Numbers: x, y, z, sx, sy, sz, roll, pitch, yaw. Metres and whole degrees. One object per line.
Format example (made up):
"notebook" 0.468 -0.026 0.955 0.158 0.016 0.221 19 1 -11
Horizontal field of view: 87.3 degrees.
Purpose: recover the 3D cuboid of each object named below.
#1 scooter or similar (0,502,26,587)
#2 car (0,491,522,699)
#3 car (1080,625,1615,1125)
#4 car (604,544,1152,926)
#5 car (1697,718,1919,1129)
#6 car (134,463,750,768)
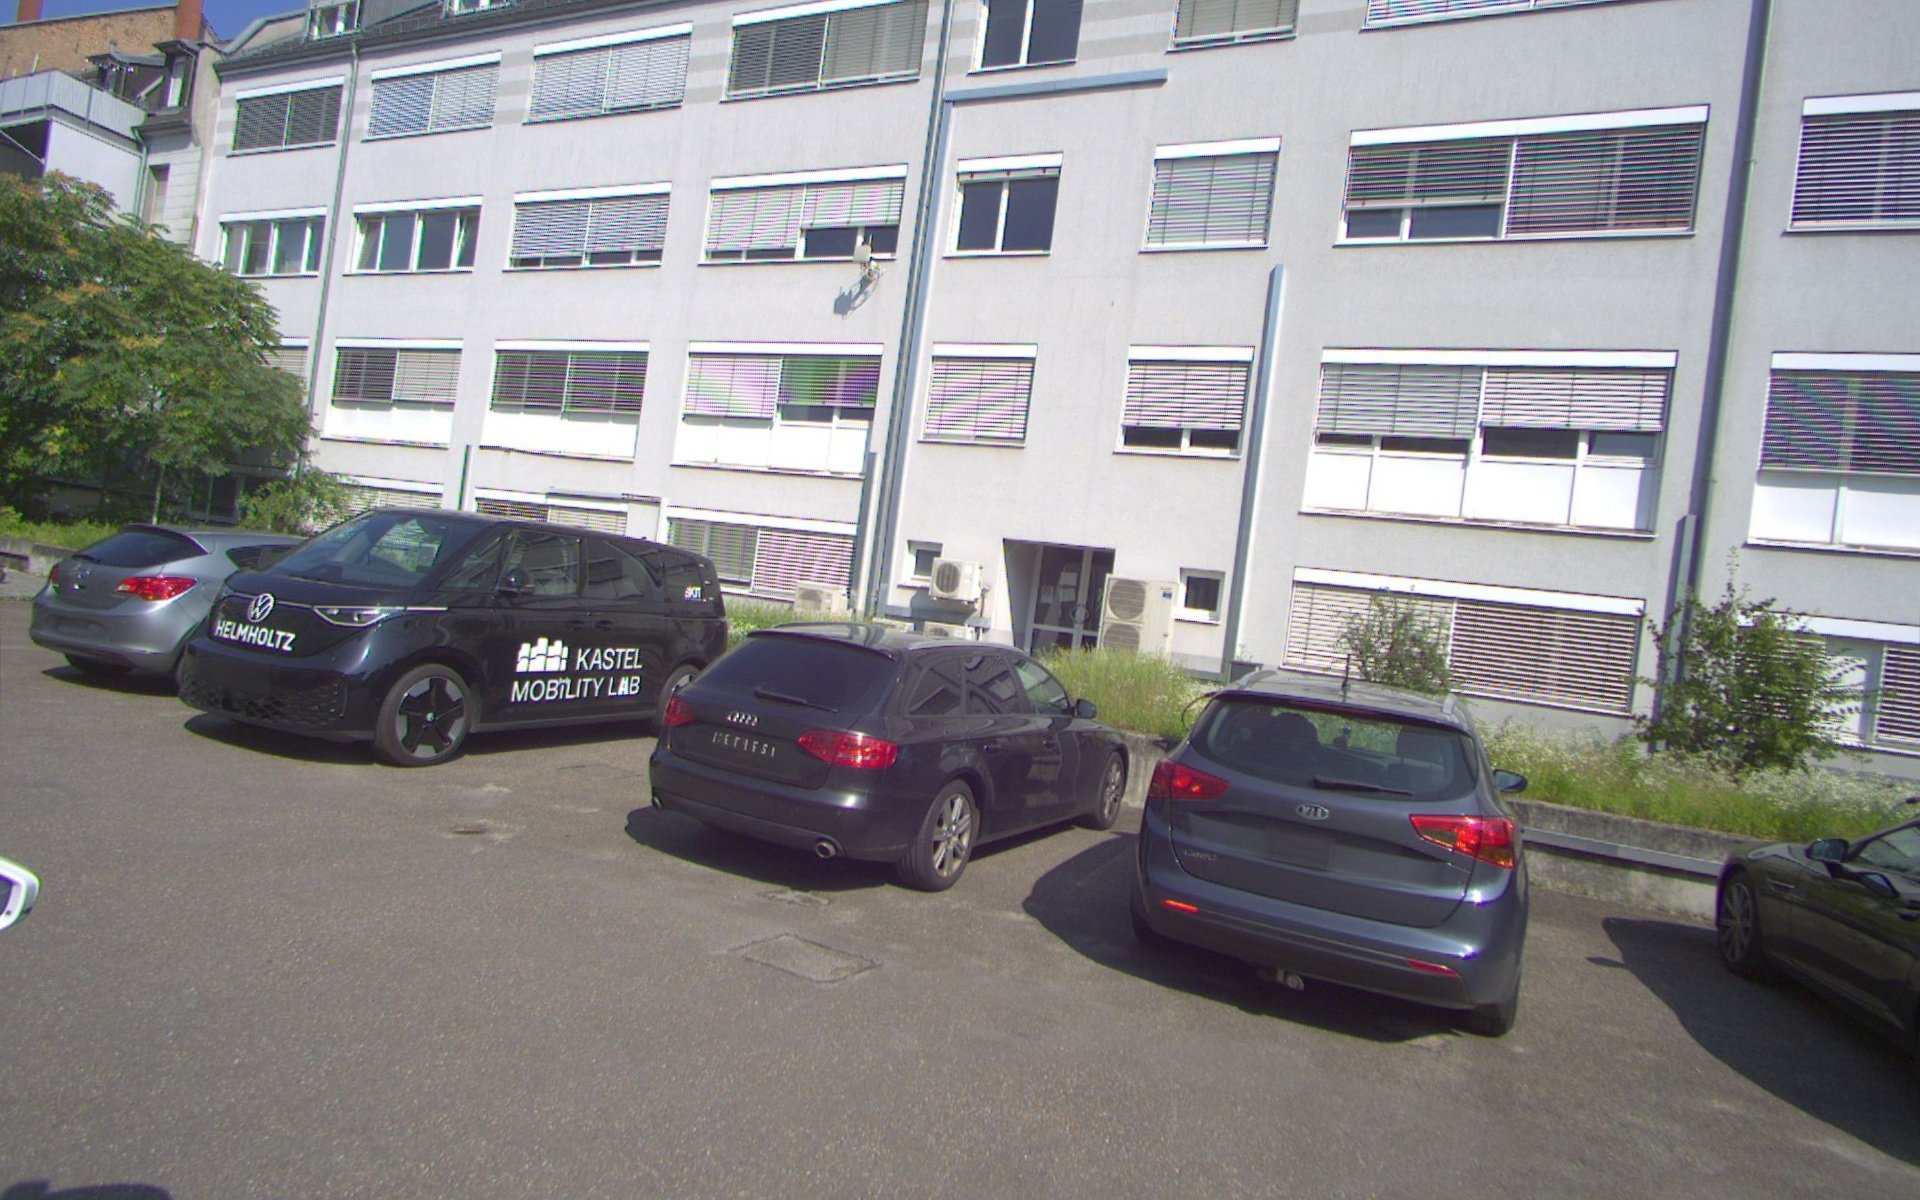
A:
"scooter or similar" -15.187 -0.927 15.375 1.324 1.276 0.379 7 0 -2
"car" -6.559 0.064 9.883 1.742 1.499 3.946 6 -2 21
"car" 2.267 1.177 5.794 1.846 1.607 3.875 7 -2 25
"car" -0.186 0.816 7.048 1.740 1.711 4.129 7 -2 28
"car" 5.145 1.524 4.509 1.862 1.607 3.814 7 -2 21
"car" -3.951 0.205 8.718 1.848 1.815 4.516 6 -1 21
